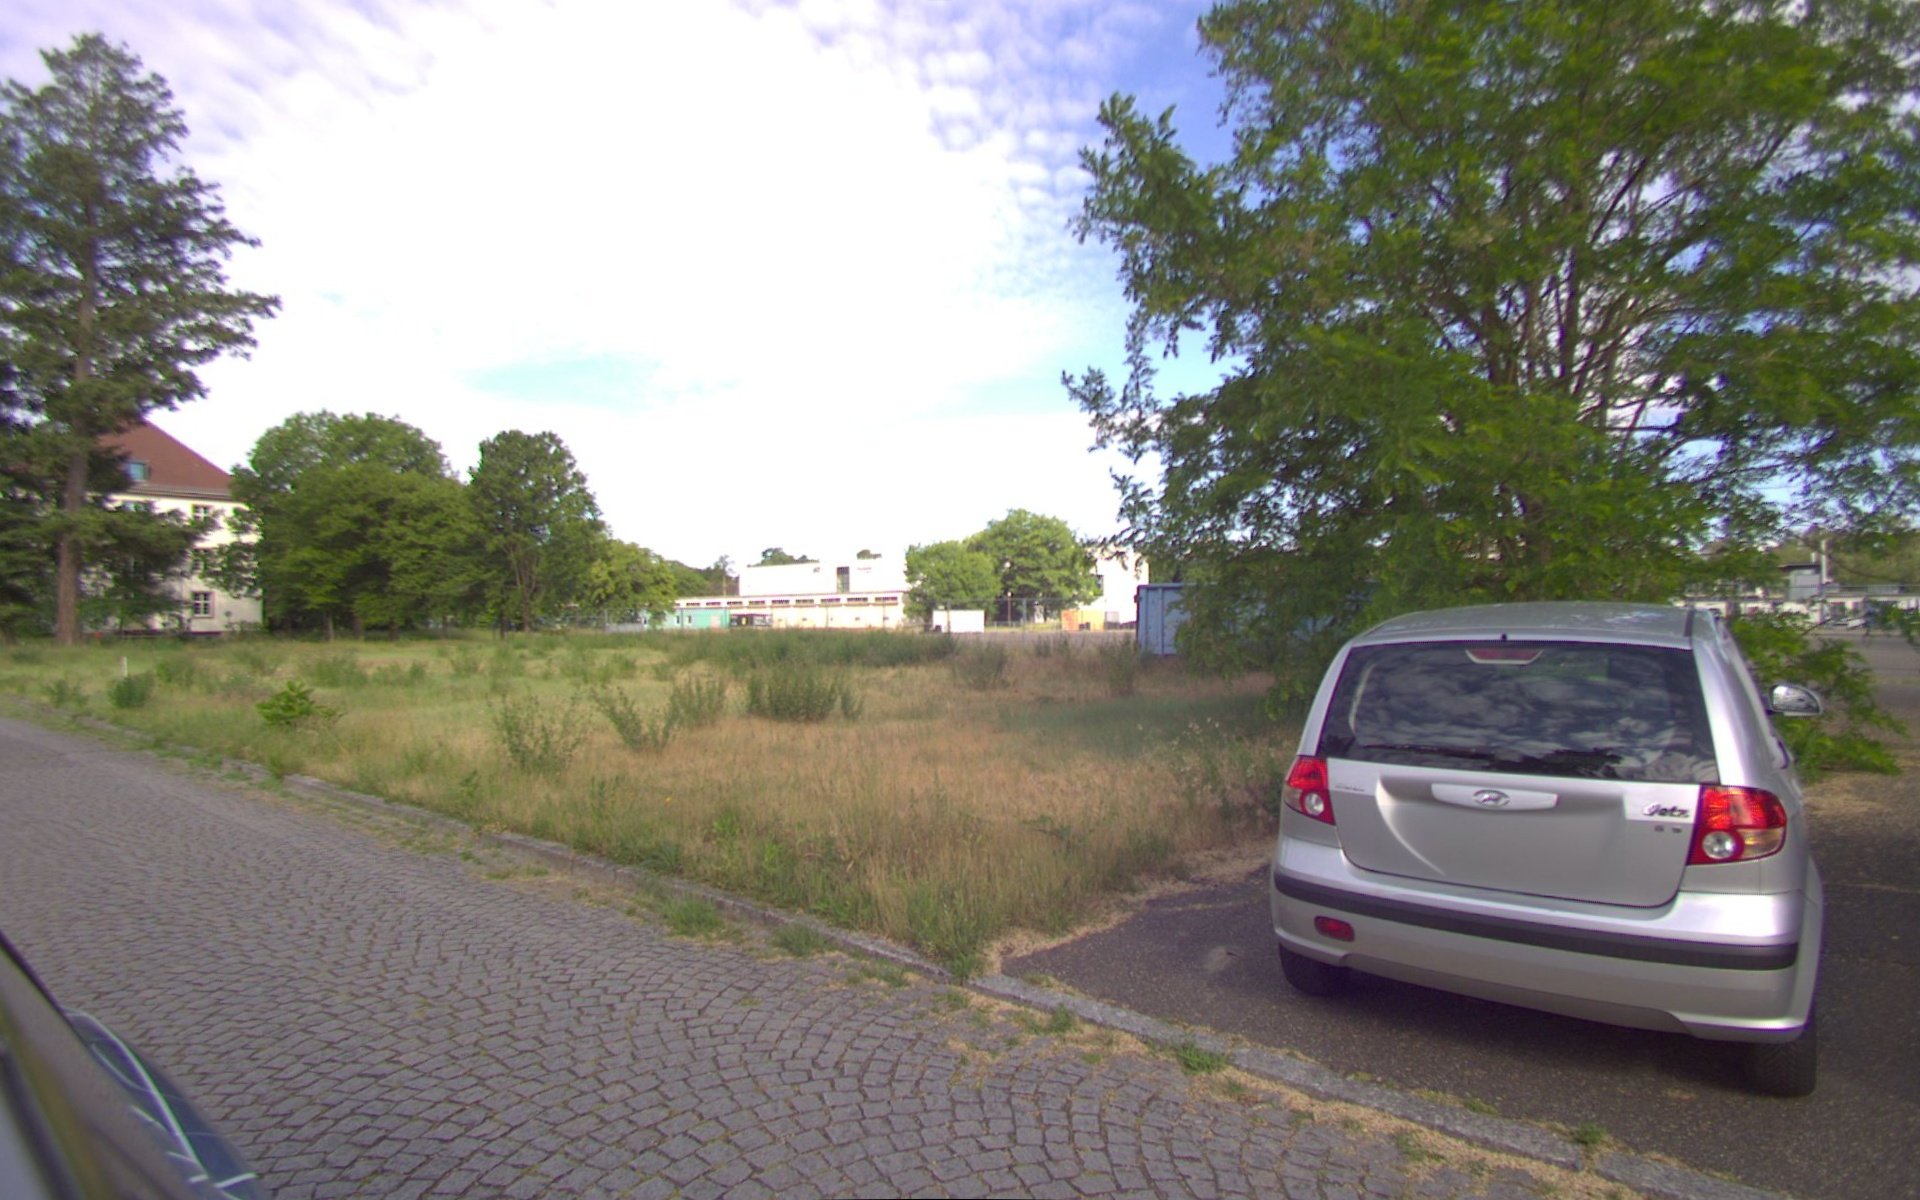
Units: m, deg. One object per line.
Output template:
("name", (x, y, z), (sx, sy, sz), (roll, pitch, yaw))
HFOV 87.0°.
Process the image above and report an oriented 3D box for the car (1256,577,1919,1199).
("car", (2.758, 0.702, 4.403), (1.644, 1.486, 3.544), (-1, 1, 37))
